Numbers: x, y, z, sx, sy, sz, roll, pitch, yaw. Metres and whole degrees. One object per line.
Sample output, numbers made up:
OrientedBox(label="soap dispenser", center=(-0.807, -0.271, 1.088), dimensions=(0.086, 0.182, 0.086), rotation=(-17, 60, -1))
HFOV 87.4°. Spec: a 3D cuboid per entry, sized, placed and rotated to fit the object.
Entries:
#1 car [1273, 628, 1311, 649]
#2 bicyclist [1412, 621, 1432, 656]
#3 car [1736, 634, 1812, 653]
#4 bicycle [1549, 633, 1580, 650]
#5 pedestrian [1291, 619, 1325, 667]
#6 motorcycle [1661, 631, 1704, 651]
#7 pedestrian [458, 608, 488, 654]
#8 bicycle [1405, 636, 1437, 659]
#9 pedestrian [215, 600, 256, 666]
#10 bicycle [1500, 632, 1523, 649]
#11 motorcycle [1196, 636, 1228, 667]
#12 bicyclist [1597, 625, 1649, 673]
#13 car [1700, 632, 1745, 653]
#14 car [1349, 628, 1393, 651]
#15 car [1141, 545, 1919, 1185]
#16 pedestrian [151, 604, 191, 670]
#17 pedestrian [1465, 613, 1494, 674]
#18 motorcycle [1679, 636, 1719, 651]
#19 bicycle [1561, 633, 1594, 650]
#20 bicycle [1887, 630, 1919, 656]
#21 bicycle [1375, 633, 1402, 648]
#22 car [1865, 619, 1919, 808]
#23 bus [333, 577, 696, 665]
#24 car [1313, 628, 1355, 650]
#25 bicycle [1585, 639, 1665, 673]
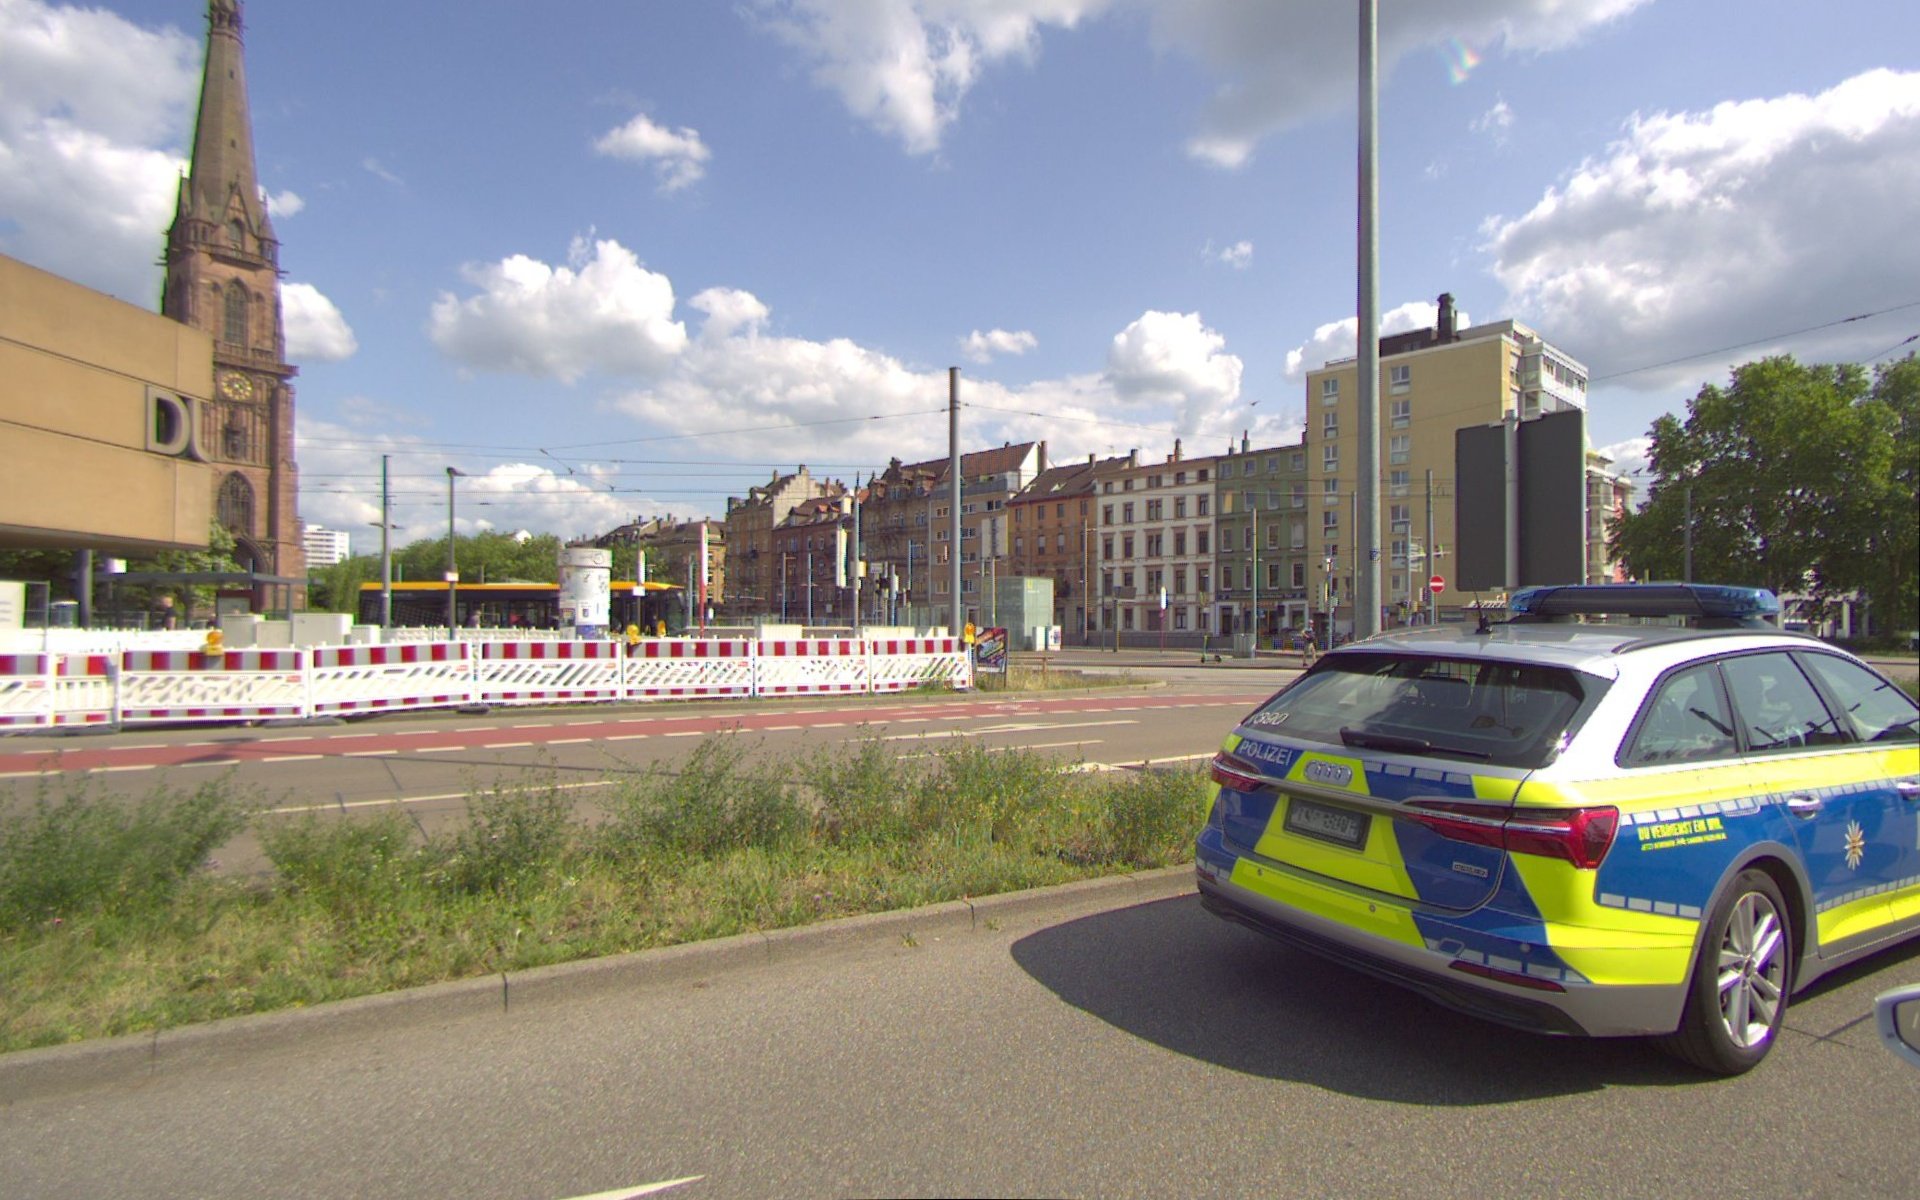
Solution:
OrientedBox(label="car", center=(25.143, 2.912, 76.212), dimensions=(1.861, 1.516, 3.902), rotation=(1, -2, 4))
OrientedBox(label="bicyclist", center=(24.474, 2.037, 53.245), dimensions=(0.768, 1.821, 0.706), rotation=(2, 0, 41))
OrientedBox(label="car", center=(59.028, 3.171, 72.892), dimensions=(1.615, 1.344, 3.967), rotation=(3, -3, -31))
OrientedBox(label="bicycle", center=(43.549, 2.971, 72.405), dimensions=(1.784, 1.162, 0.792), rotation=(-1, -1, 43))
OrientedBox(label="pedestrian", center=(13.486, 1.662, 38.925), dimensions=(1.017, 1.821, 0.761), rotation=(2, 0, -31))
OrientedBox(label="motorcycle", center=(46.847, 2.658, 65.154), dimensions=(0.890, 1.254, 2.214), rotation=(0, -1, -12))
OrientedBox(label="pedestrian", center=(-17.727, 1.127, 36.559), dimensions=(0.751, 1.653, 0.653), rotation=(1, -1, 0))
OrientedBox(label="bicycle", center=(24.440, 2.497, 53.213), dimensions=(0.877, 1.153, 2.345), rotation=(2, 0, 41))
OrientedBox(label="pedestrian", center=(-18.659, 0.845, 25.879), dimensions=(0.549, 1.651, 0.732), rotation=(1, -1, -7))
OrientedBox(label="bicycle", center=(40.710, 2.974, 74.101), dimensions=(1.791, 1.275, 0.789), rotation=(1, -1, -34))
OrientedBox(label="motorcycle", center=(10.615, 2.160, 42.331), dimensions=(0.478, 1.253, 1.437), rotation=(2, -2, -27))
OrientedBox(label="bicyclist", center=(24.500, 1.801, 37.131), dimensions=(0.984, 1.753, 1.290), rotation=(2, -2, -32))
OrientedBox(label="car", center=(55.419, 3.107, 73.012), dimensions=(3.970, 1.432, 1.888), rotation=(4, -4, -42))
OrientedBox(label="car", center=(29.681, 2.862, 72.583), dimensions=(1.861, 1.516, 3.903), rotation=(1, -2, 5))
OrientedBox(label="car", center=(3.169, 0.719, 4.481), dimensions=(4.561, 1.589, 1.871), rotation=(1, -2, -30))
OrientedBox(label="pedestrian", center=(-20.133, 0.934, 25.632), dimensions=(0.760, 1.653, 0.645), rotation=(2, -1, -41))
OrientedBox(label="pedestrian", center=(16.895, 1.404, 32.649), dimensions=(0.753, 1.928, 0.825), rotation=(2, 0, 29))
OrientedBox(label="motorcycle", center=(50.425, 2.969, 68.564), dimensions=(2.003, 0.929, 0.812), rotation=(-1, -1, 7))
OrientedBox(label="bicycle", center=(44.788, 3.025, 72.825), dimensions=(1.922, 1.162, 0.792), rotation=(-1, -1, 43))
OrientedBox(label="bicycle", center=(54.445, 2.438, 57.370), dimensions=(0.807, 1.433, 2.146), rotation=(0, 0, -44))
OrientedBox(label="bicycle", center=(33.774, 3.197, 79.232), dimensions=(1.783, 1.118, 0.792), rotation=(0, -1, 42))
OrientedBox(label="car", center=(9.603, 0.934, 8.466), dimensions=(3.953, 1.494, 1.839), rotation=(1, -2, -30))
OrientedBox(label="bus", center=(-16.786, 0.807, 38.377), dimensions=(12.586, 3.177, 2.835), rotation=(0, -1, 1))
OrientedBox(label="car", center=(27.326, 2.847, 73.554), dimensions=(1.861, 1.516, 3.902), rotation=(1, -2, 4))
OrientedBox(label="bicycle", center=(24.516, 2.052, 37.075), dimensions=(0.984, 1.204, 2.281), rotation=(2, -3, -32))
